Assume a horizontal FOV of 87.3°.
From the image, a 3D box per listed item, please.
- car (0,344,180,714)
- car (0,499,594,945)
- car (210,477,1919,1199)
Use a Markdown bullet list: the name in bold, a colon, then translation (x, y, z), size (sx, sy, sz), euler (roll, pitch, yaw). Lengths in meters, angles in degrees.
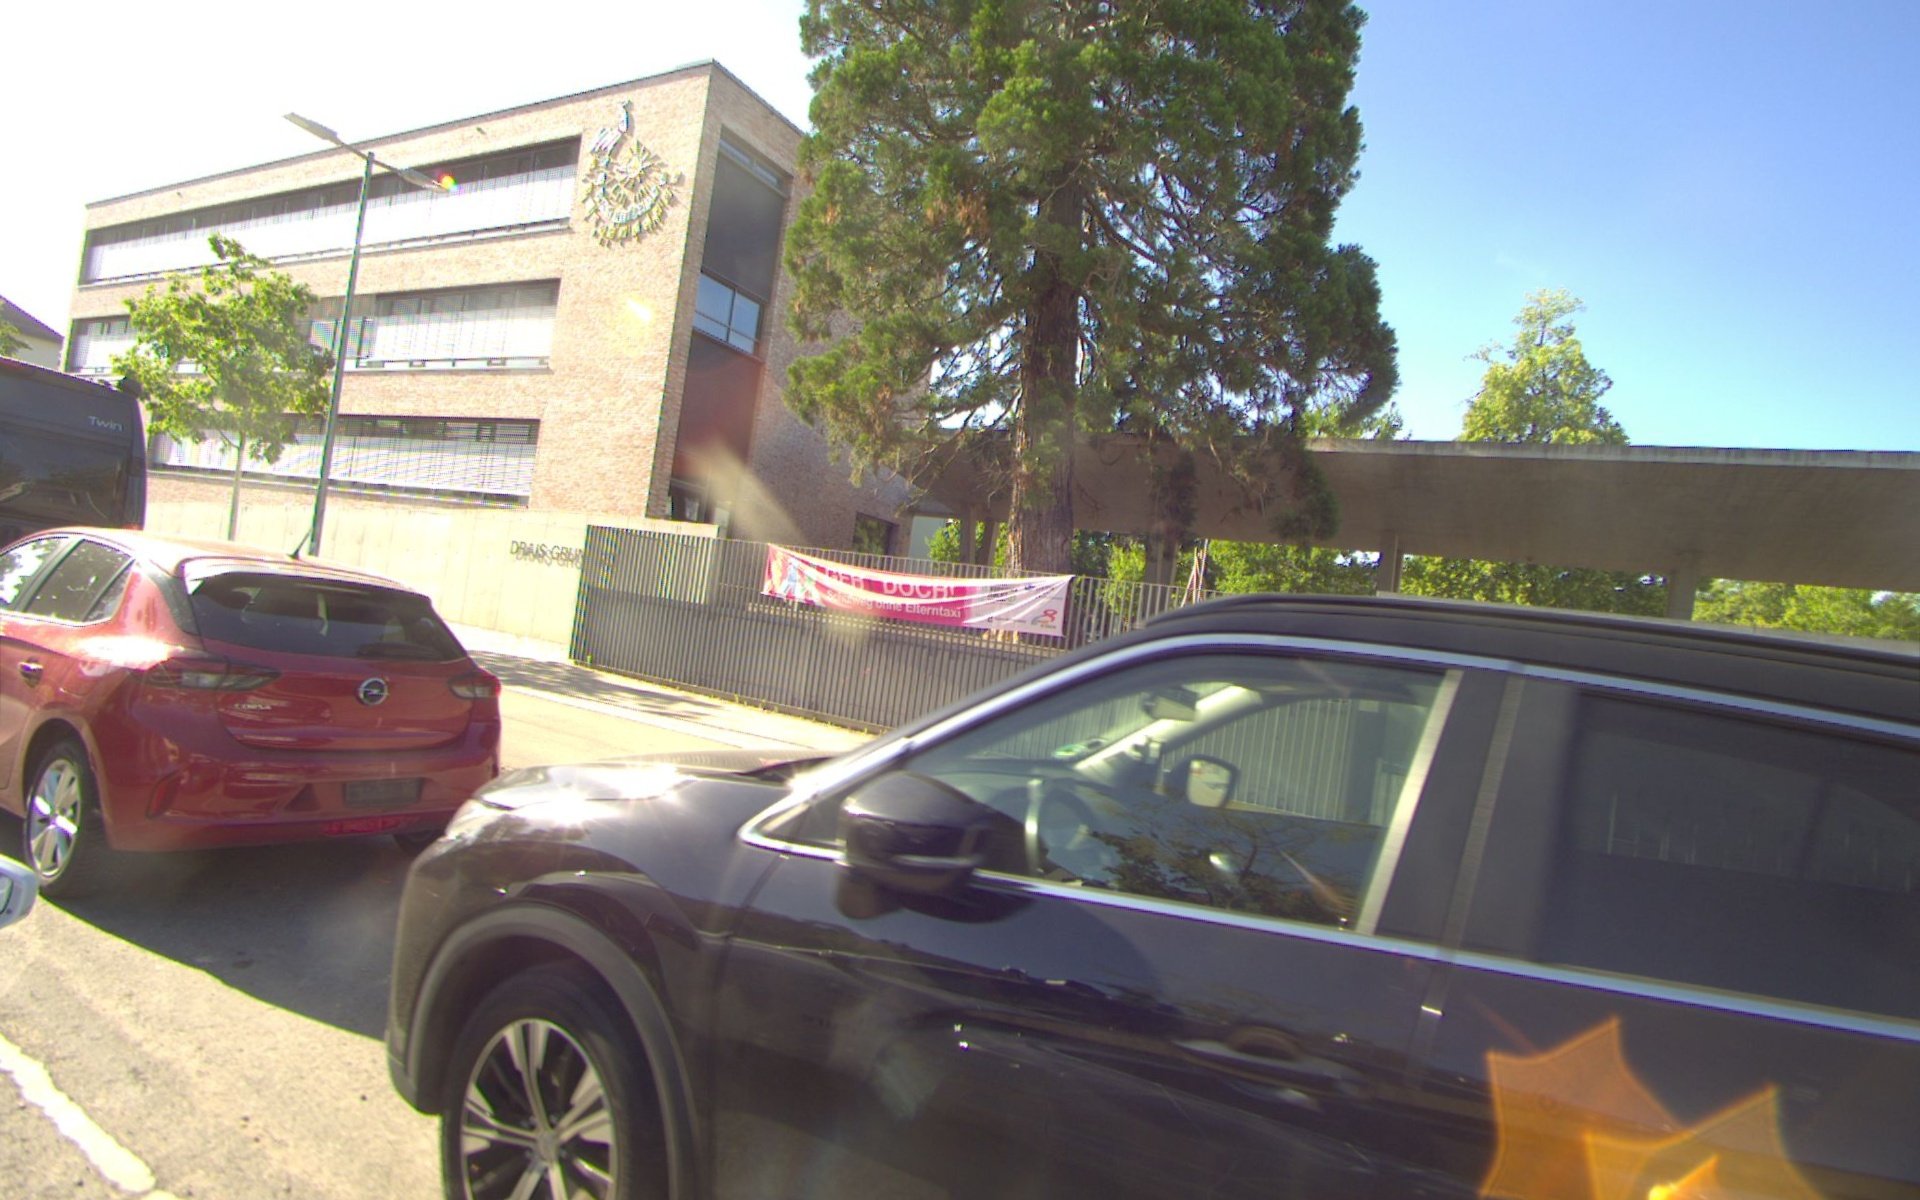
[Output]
- **car**: translation (-9.498, -0.821, 8.501), size (6.421, 2.545, 2.120), euler (7, -2, 30)
- **car**: translation (-4.029, 0.358, 5.261), size (3.883, 1.472, 1.798), euler (7, -2, 31)
- **car**: translation (0.548, 0.830, 2.229), size (4.428, 1.659, 1.850), euler (7, -2, 31)
